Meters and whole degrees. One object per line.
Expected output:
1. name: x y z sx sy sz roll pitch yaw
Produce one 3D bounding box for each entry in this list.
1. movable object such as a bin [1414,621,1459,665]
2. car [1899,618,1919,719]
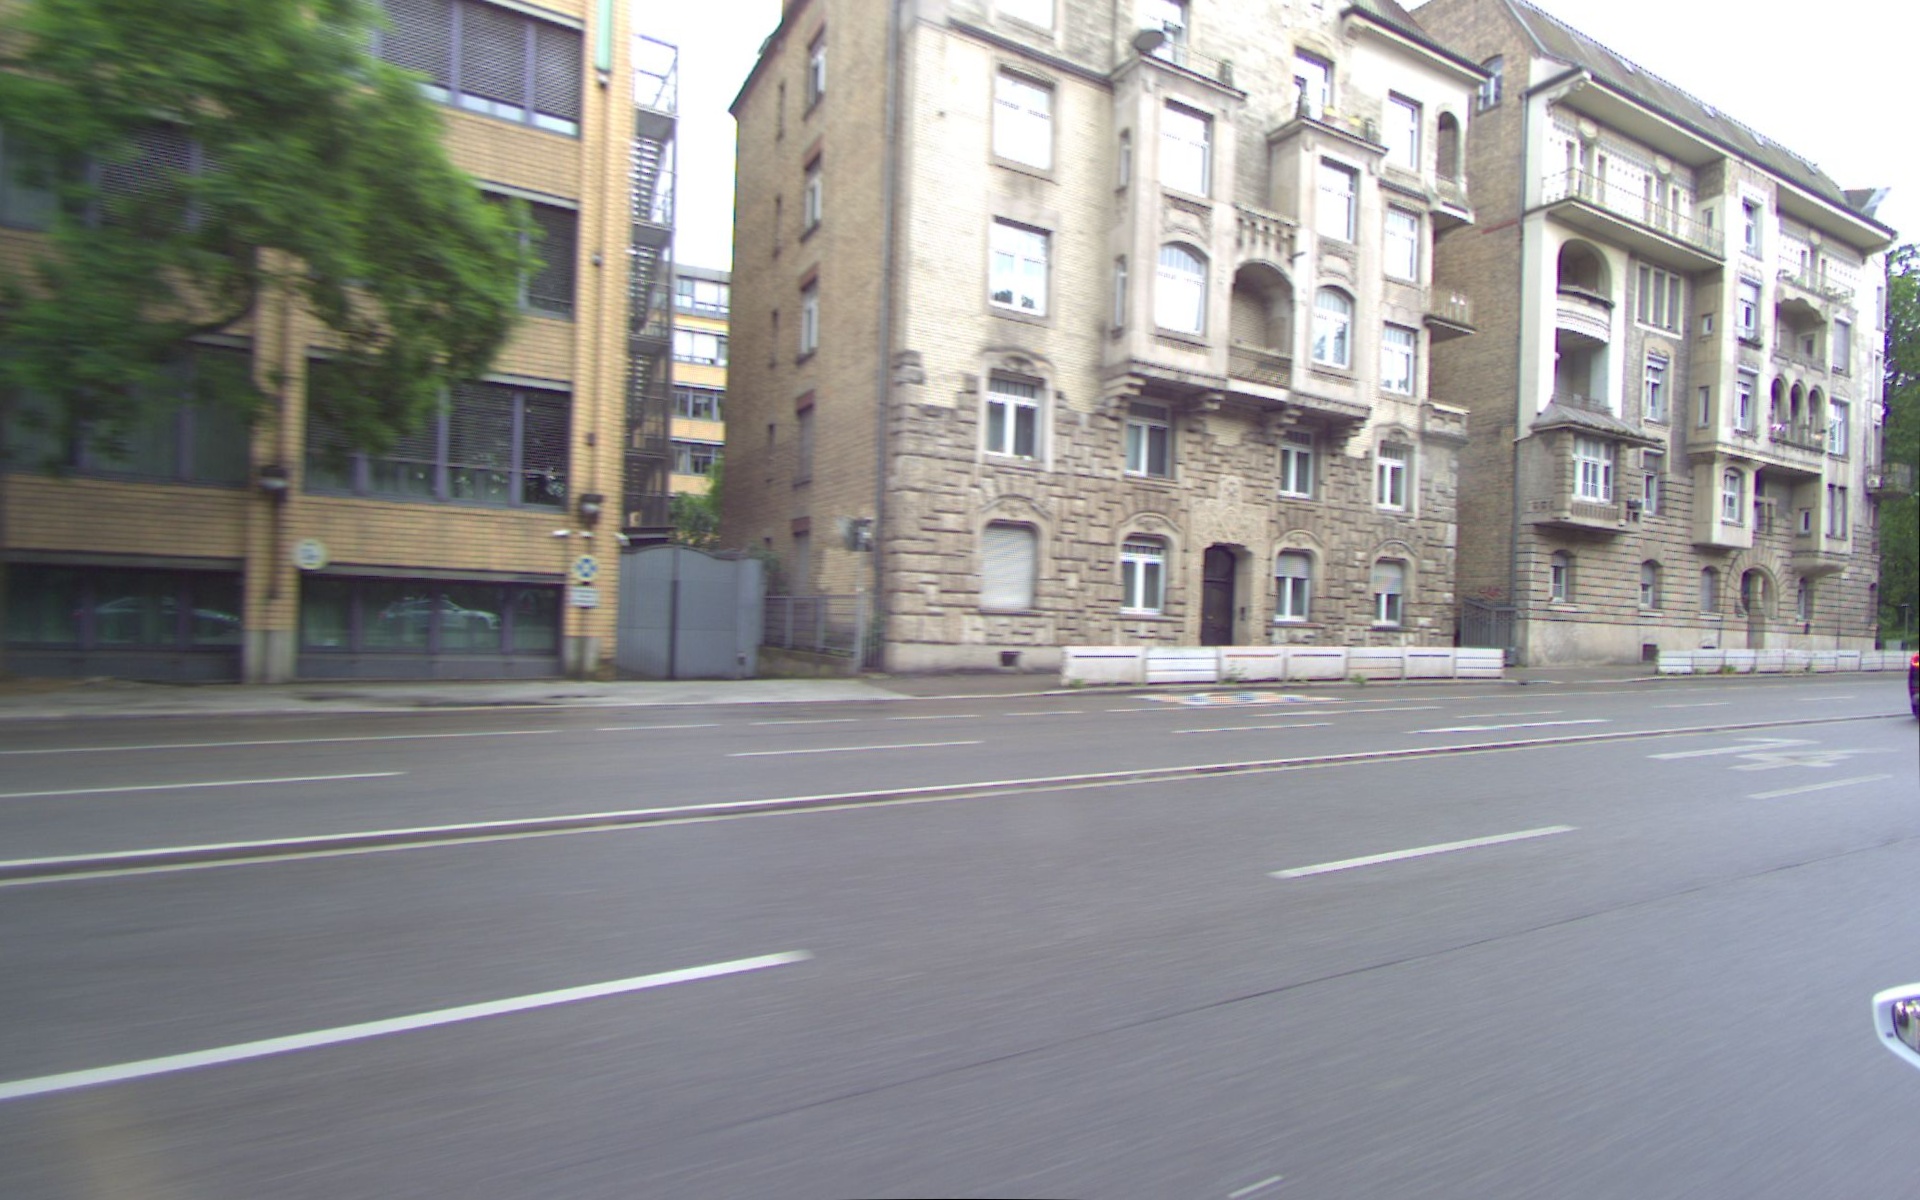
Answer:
1. movable object such as a bin: 16.521 1.464 34.834 1.011 1.454 1.020 -1 0 -31
2. car: 17.603 1.170 16.695 4.361 1.607 1.749 2 0 -31
